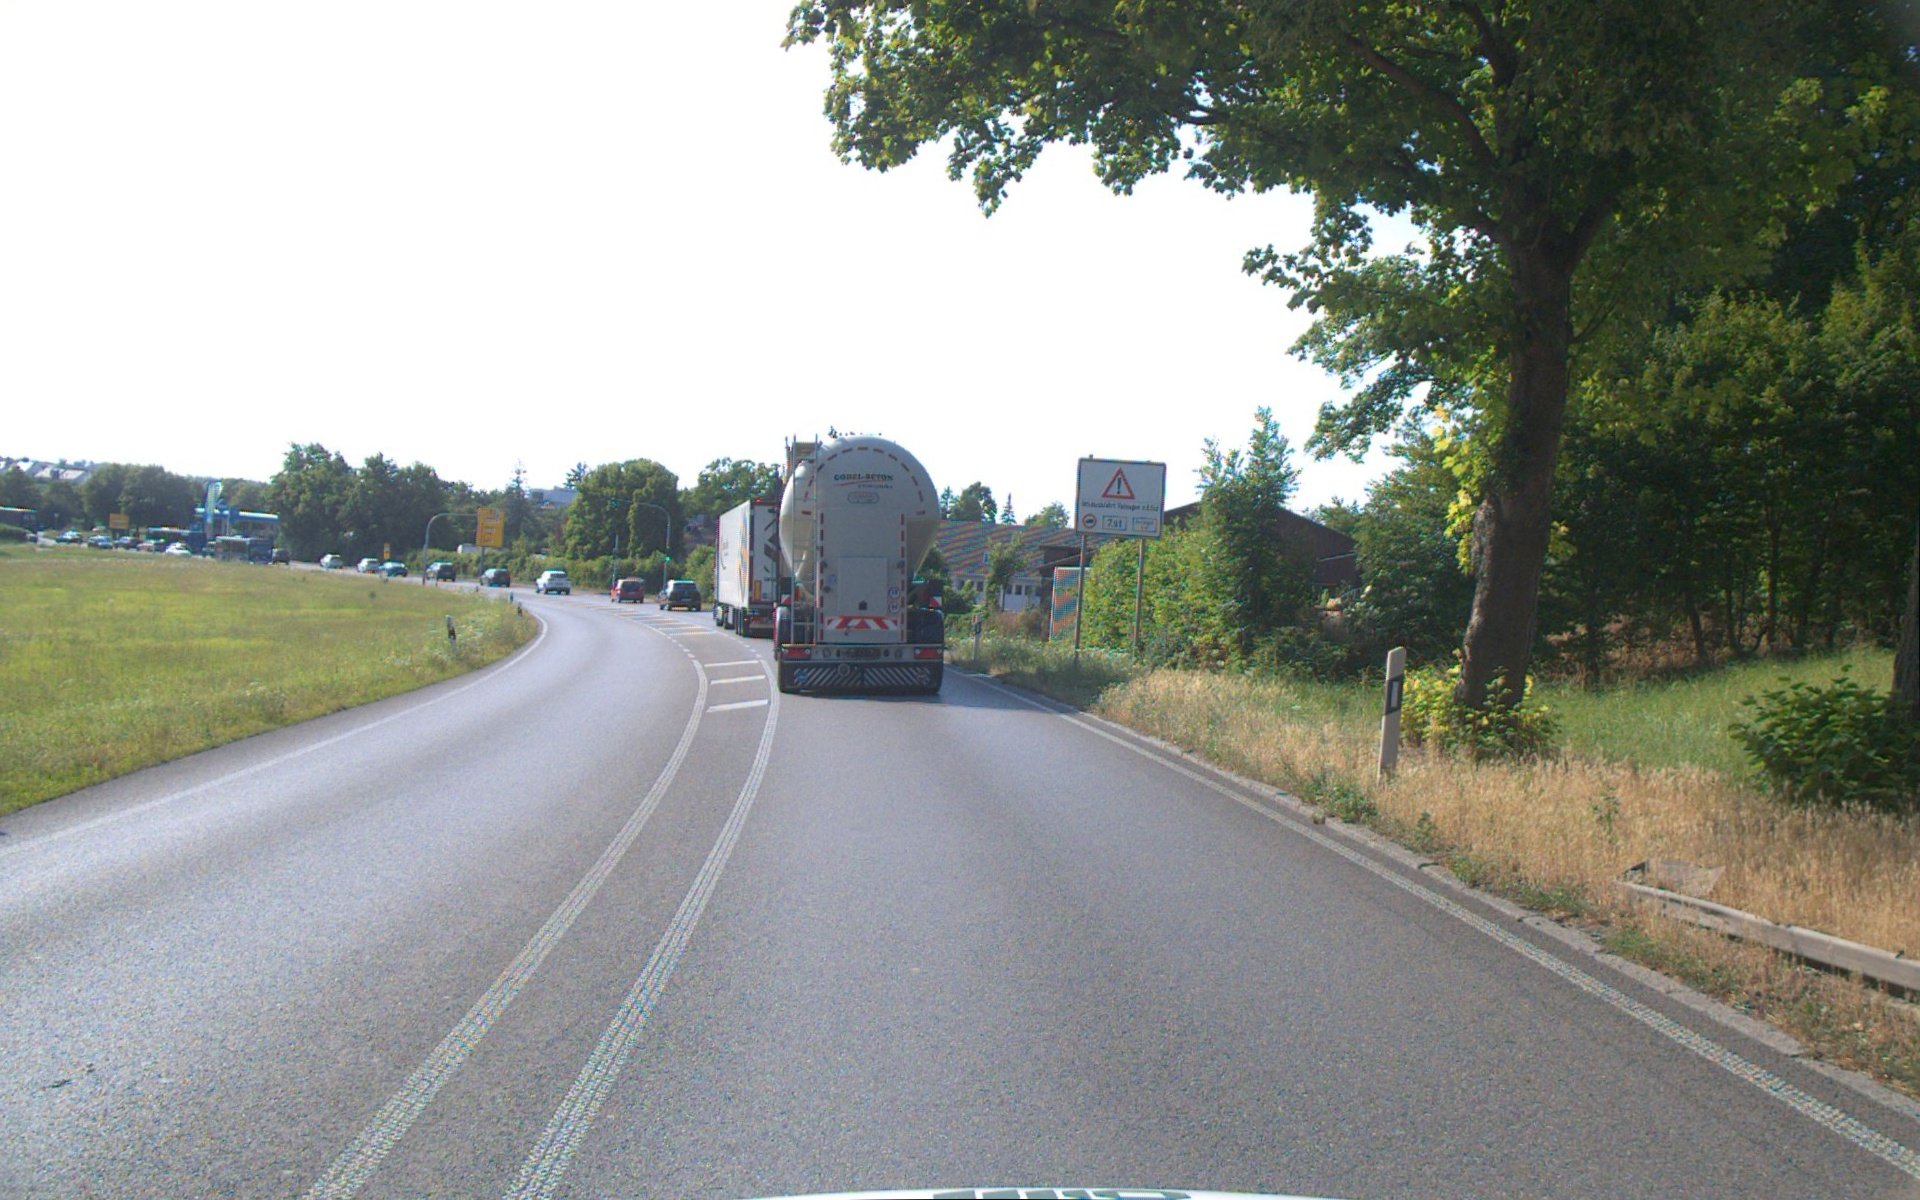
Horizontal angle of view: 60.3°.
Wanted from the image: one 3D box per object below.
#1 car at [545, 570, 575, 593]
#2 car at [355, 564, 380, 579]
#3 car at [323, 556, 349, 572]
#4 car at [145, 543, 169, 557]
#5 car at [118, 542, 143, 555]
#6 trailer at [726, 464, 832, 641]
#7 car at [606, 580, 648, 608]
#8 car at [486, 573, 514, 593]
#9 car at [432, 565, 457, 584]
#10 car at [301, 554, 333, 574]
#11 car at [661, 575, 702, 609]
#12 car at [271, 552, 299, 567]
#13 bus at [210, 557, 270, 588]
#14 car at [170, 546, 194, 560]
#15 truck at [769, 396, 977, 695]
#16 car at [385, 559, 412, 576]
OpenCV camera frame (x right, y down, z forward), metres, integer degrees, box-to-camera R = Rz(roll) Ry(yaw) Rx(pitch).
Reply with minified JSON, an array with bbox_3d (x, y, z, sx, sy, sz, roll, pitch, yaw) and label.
[{"bbox_3d":[-29.849,-1.373,123.436,1.813,1.685,3.979,1,0,-19],"label":"car"},{"bbox_3d":[-62.545,-3.003,174.584,1.663,1.586,3.829,2,-1,-33],"label":"car"},{"bbox_3d":[-70.580,-4.075,187.023,1.957,1.685,3.829,2,-1,-33],"label":"car"},{"bbox_3d":[-106.434,-6.628,219.220,1.870,1.627,3.942,1,1,-40],"label":"car"},{"bbox_3d":[-111.905,-6.916,223.070,1.874,1.627,3.935,1,1,-45],"label":"car"},{"bbox_3d":[-5.682,-1.316,52.167,2.907,4.967,10.274,1,0,-6],"label":"trailer"},{"bbox_3d":[-21.019,-0.359,104.153,2.262,1.685,4.396,1,0,-16],"label":"car"},{"bbox_3d":[-39.073,-1.415,140.438,1.502,1.685,3.836,1,-1,-28],"label":"car"},{"bbox_3d":[-47.812,-2.319,153.281,1.502,1.685,3.836,1,-1,-28],"label":"car"},{"bbox_3d":[-58.547,-3.252,150.573,1.826,1.685,3.950,2,-1,-36],"label":"car"},{"bbox_3d":[-14.619,-0.418,86.626,1.958,1.685,3.988,1,0,-12],"label":"car"},{"bbox_3d":[-78.796,-4.774,192.984,2.070,1.627,3.947,1,1,-37],"label":"car"},{"bbox_3d":[-78.833,-3.018,181.046,2.777,3.237,11.952,2,-1,-40],"label":"bus"},{"bbox_3d":[-101.076,-6.115,214.829,2.070,1.627,3.947,1,1,-37],"label":"car"},{"bbox_3d":[-1.862,-0.754,29.698,2.918,4.248,11.646,1,0,-6],"label":"truck"},{"bbox_3d":[-55.999,-3.271,164.792,1.663,1.586,3.829,2,-1,-33],"label":"car"}]
